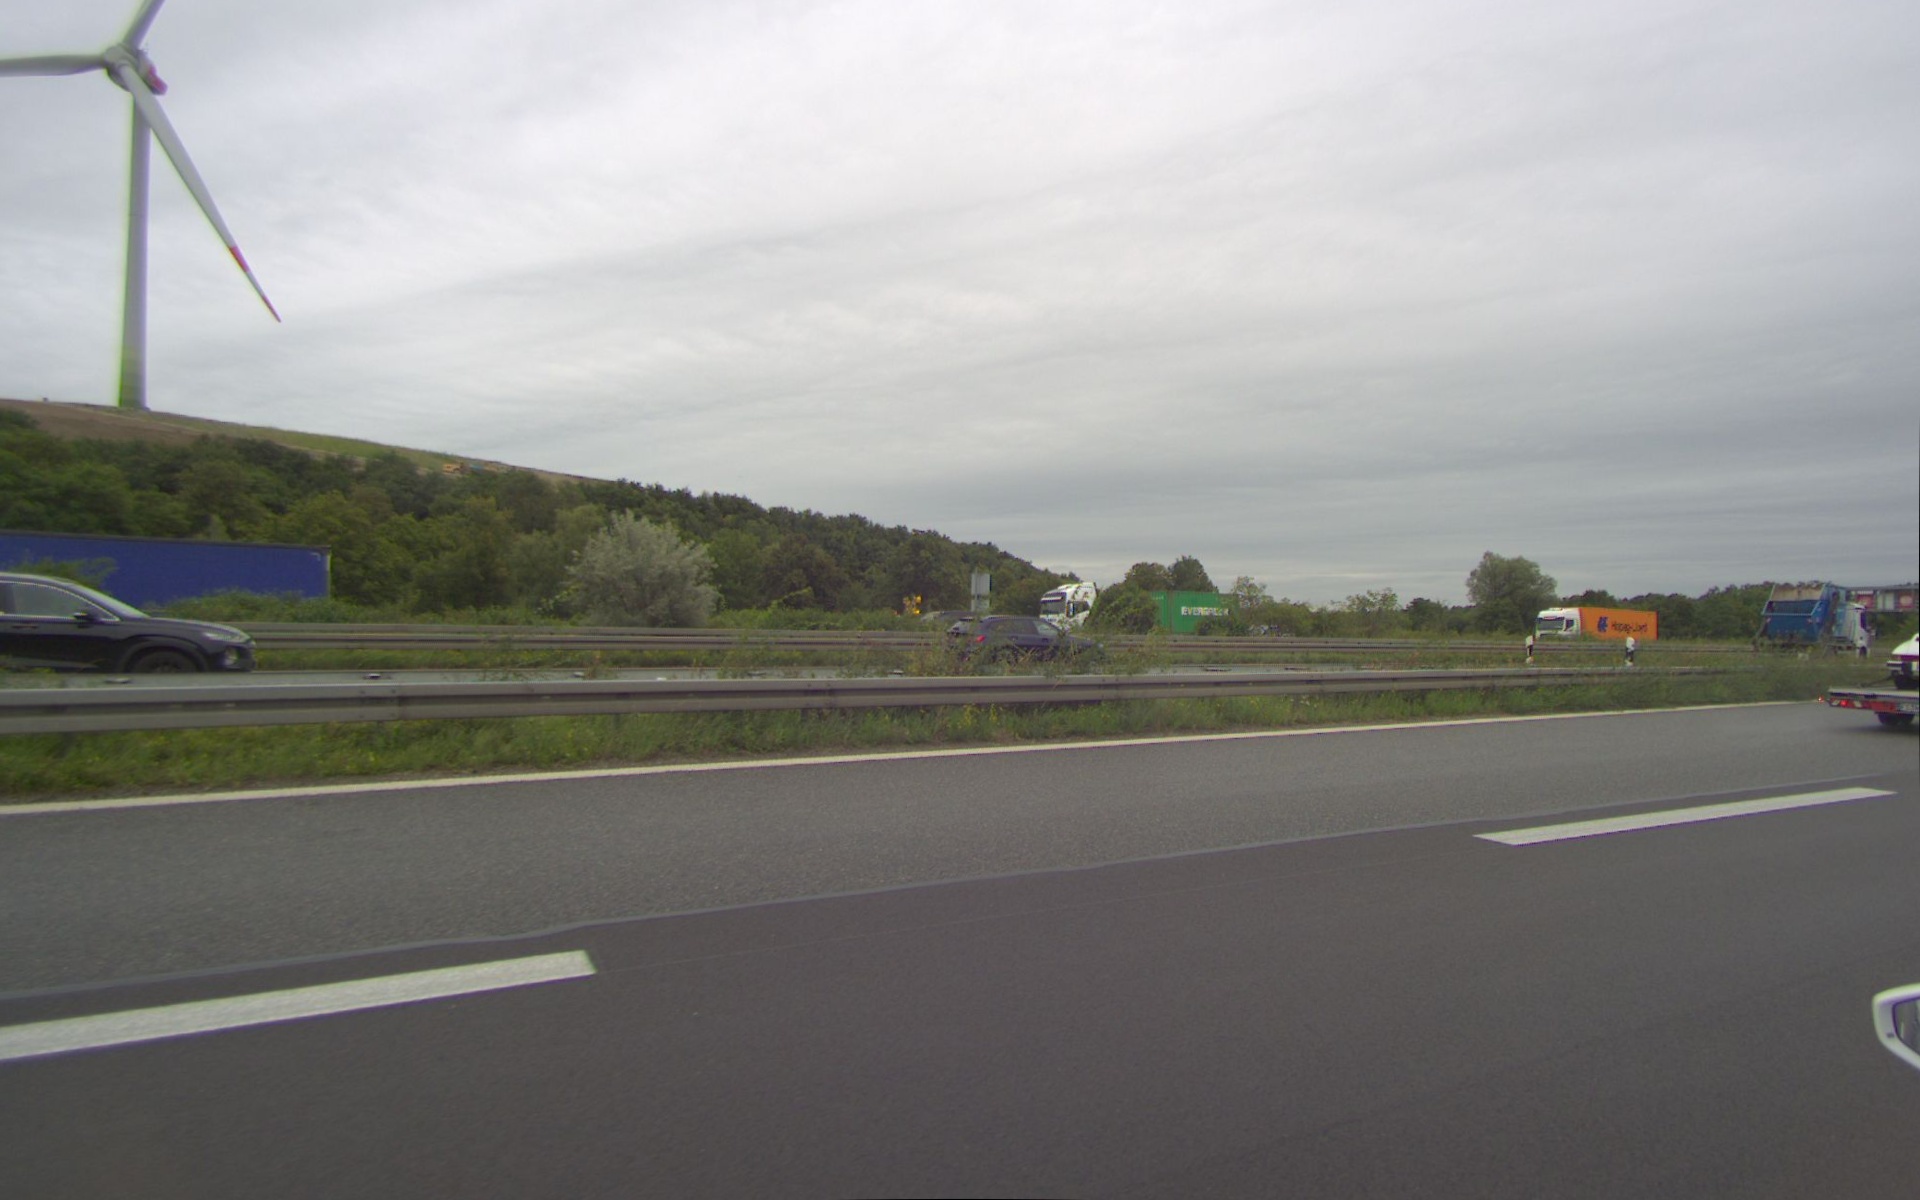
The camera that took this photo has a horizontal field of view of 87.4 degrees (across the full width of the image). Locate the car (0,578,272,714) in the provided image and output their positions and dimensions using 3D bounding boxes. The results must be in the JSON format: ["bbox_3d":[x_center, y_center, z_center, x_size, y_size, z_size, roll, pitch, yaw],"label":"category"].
[{"bbox_3d":[-11.932,0.560,13.083,4.755,1.648,1.871,3,-1,-33],"label":"car"}]

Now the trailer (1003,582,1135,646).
[{"bbox_3d":[6.256,0.831,57.172,7.194,3.448,2.942,2,-1,-33],"label":"trailer"}]

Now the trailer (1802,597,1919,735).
[{"bbox_3d":[17.107,1.086,16.849,6.984,2.021,2.471,2,0,-32],"label":"trailer"}]

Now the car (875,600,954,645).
[{"bbox_3d":[-2.576,1.273,56.592,3.956,2.408,2.011,2,-1,-32],"label":"car"}]

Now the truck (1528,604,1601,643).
[{"bbox_3d":[51.315,1.988,85.228,6.383,3.114,2.671,2,-1,-31],"label":"truck"}]

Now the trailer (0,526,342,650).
[{"bbox_3d":[-29.436,-0.306,34.984,13.384,3.977,2.942,2,-1,-34],"label":"trailer"}]

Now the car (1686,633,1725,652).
[{"bbox_3d":[79.842,4.590,107.577,3.956,1.934,2.011,2,-1,-32],"label":"car"}]

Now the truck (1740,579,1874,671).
[{"bbox_3d":[38.357,1.170,45.403,7.266,3.863,2.622,2,-1,-33],"label":"truck"}]

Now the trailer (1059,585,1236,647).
[{"bbox_3d":[11.477,1.042,60.603,11.676,3.448,2.942,2,-1,-33],"label":"trailer"}]

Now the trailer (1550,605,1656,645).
[{"bbox_3d":[56.914,2.238,88.717,12.426,3.114,2.671,3,-1,-32],"label":"trailer"}]

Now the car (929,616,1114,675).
[{"bbox_3d":[1.676,1.217,26.602,4.724,1.410,1.793,3,-1,-33],"label":"car"}]
